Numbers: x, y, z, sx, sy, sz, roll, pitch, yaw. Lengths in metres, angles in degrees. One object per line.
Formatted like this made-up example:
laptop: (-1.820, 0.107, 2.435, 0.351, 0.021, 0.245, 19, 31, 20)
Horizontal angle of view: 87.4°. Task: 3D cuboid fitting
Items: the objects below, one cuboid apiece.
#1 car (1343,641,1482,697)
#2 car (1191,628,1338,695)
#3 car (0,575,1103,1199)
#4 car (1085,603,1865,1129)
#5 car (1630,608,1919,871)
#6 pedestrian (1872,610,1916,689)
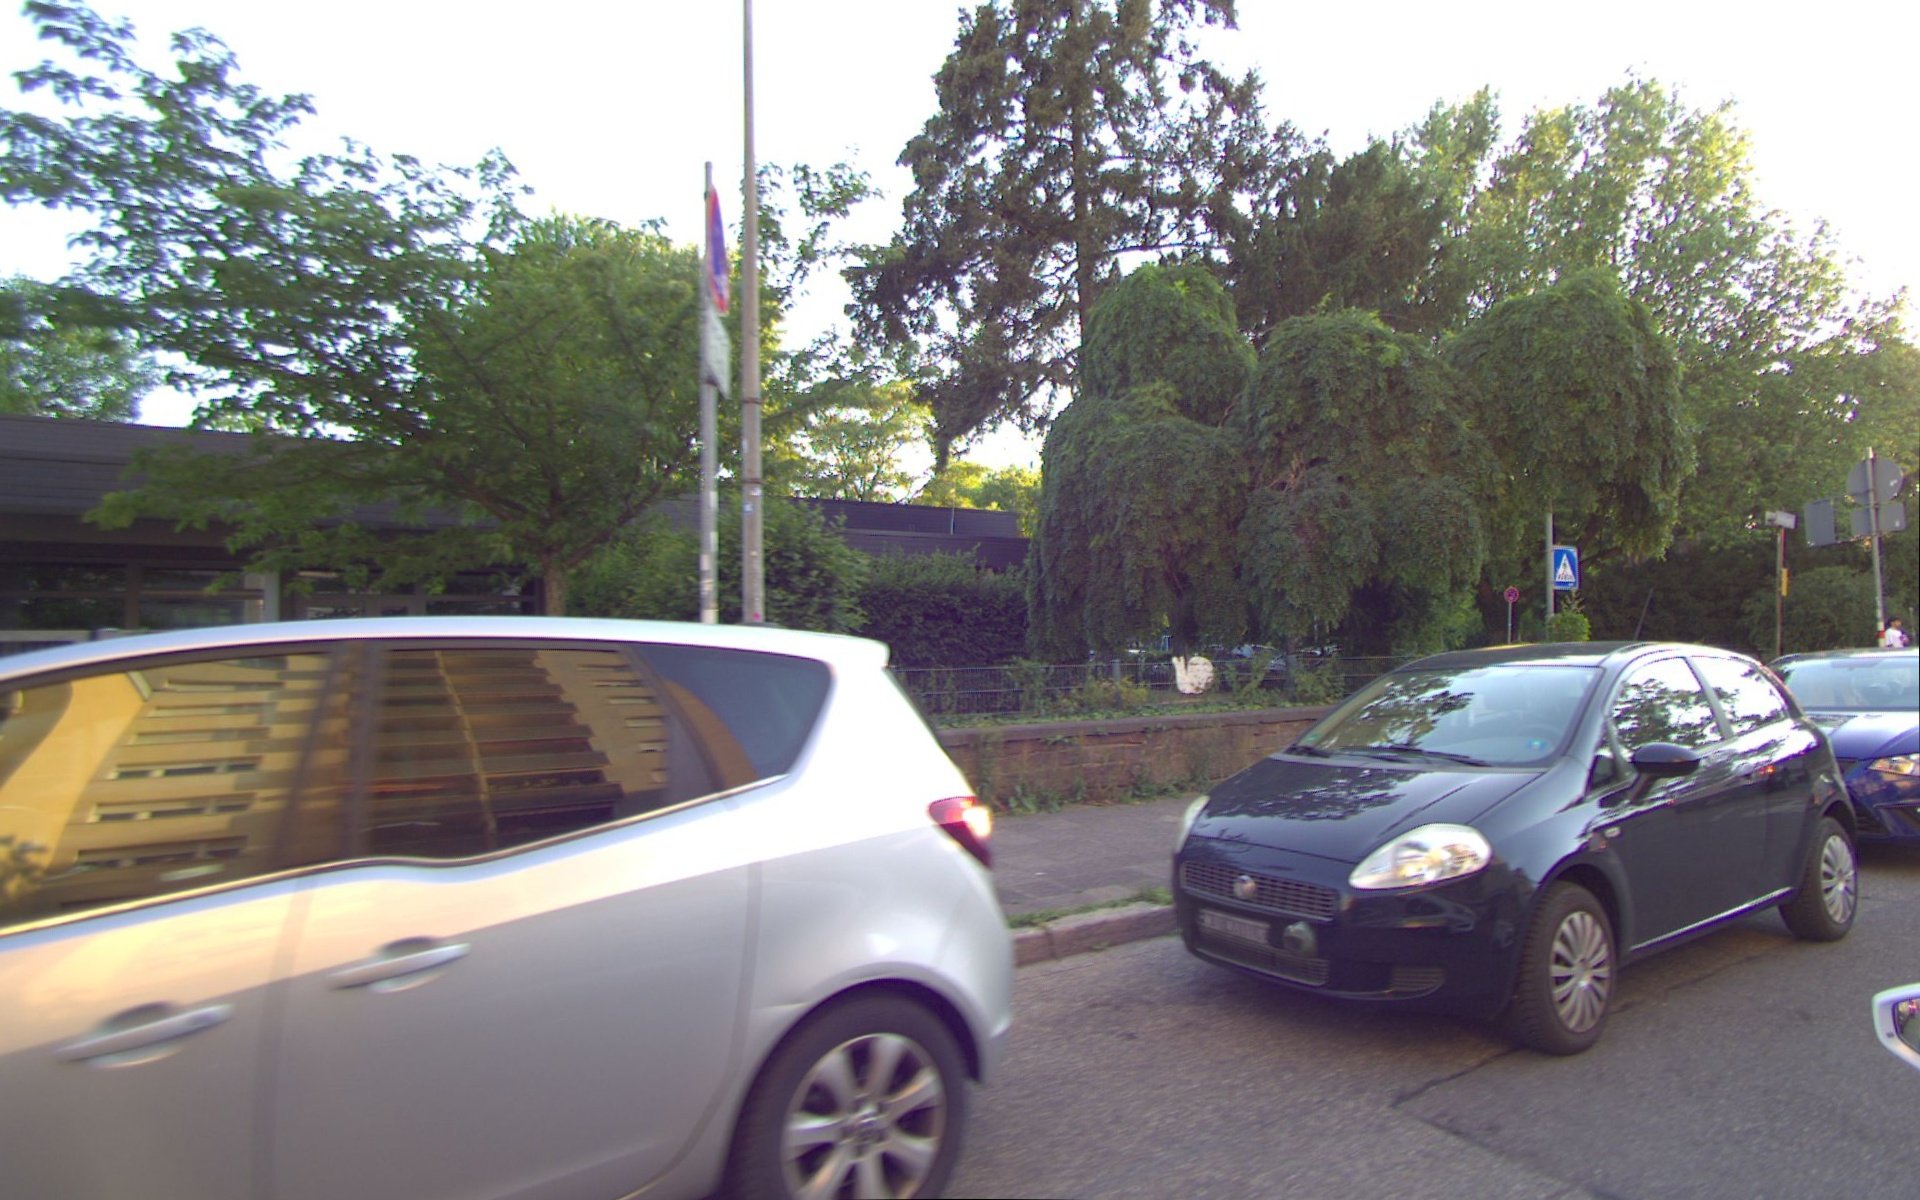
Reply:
car: (14.770, 2.258, 33.025, 1.798, 1.511, 3.844, -6, -1, -24)
car: (9.074, 1.886, 30.289, 1.801, 1.821, 4.213, 4, -6, -28)
car: (-1.793, 0.818, 2.352, 4.086, 1.587, 1.724, 1, -4, -34)
car: (2.570, 0.889, 4.819, 3.658, 1.587, 1.724, 1, -4, -34)
car: (6.984, 0.922, 7.715, 3.752, 1.587, 1.723, 1, -4, -34)
pedestrian: (22.084, 1.153, 23.755, 0.613, 1.833, 0.590, 0, -1, -29)
